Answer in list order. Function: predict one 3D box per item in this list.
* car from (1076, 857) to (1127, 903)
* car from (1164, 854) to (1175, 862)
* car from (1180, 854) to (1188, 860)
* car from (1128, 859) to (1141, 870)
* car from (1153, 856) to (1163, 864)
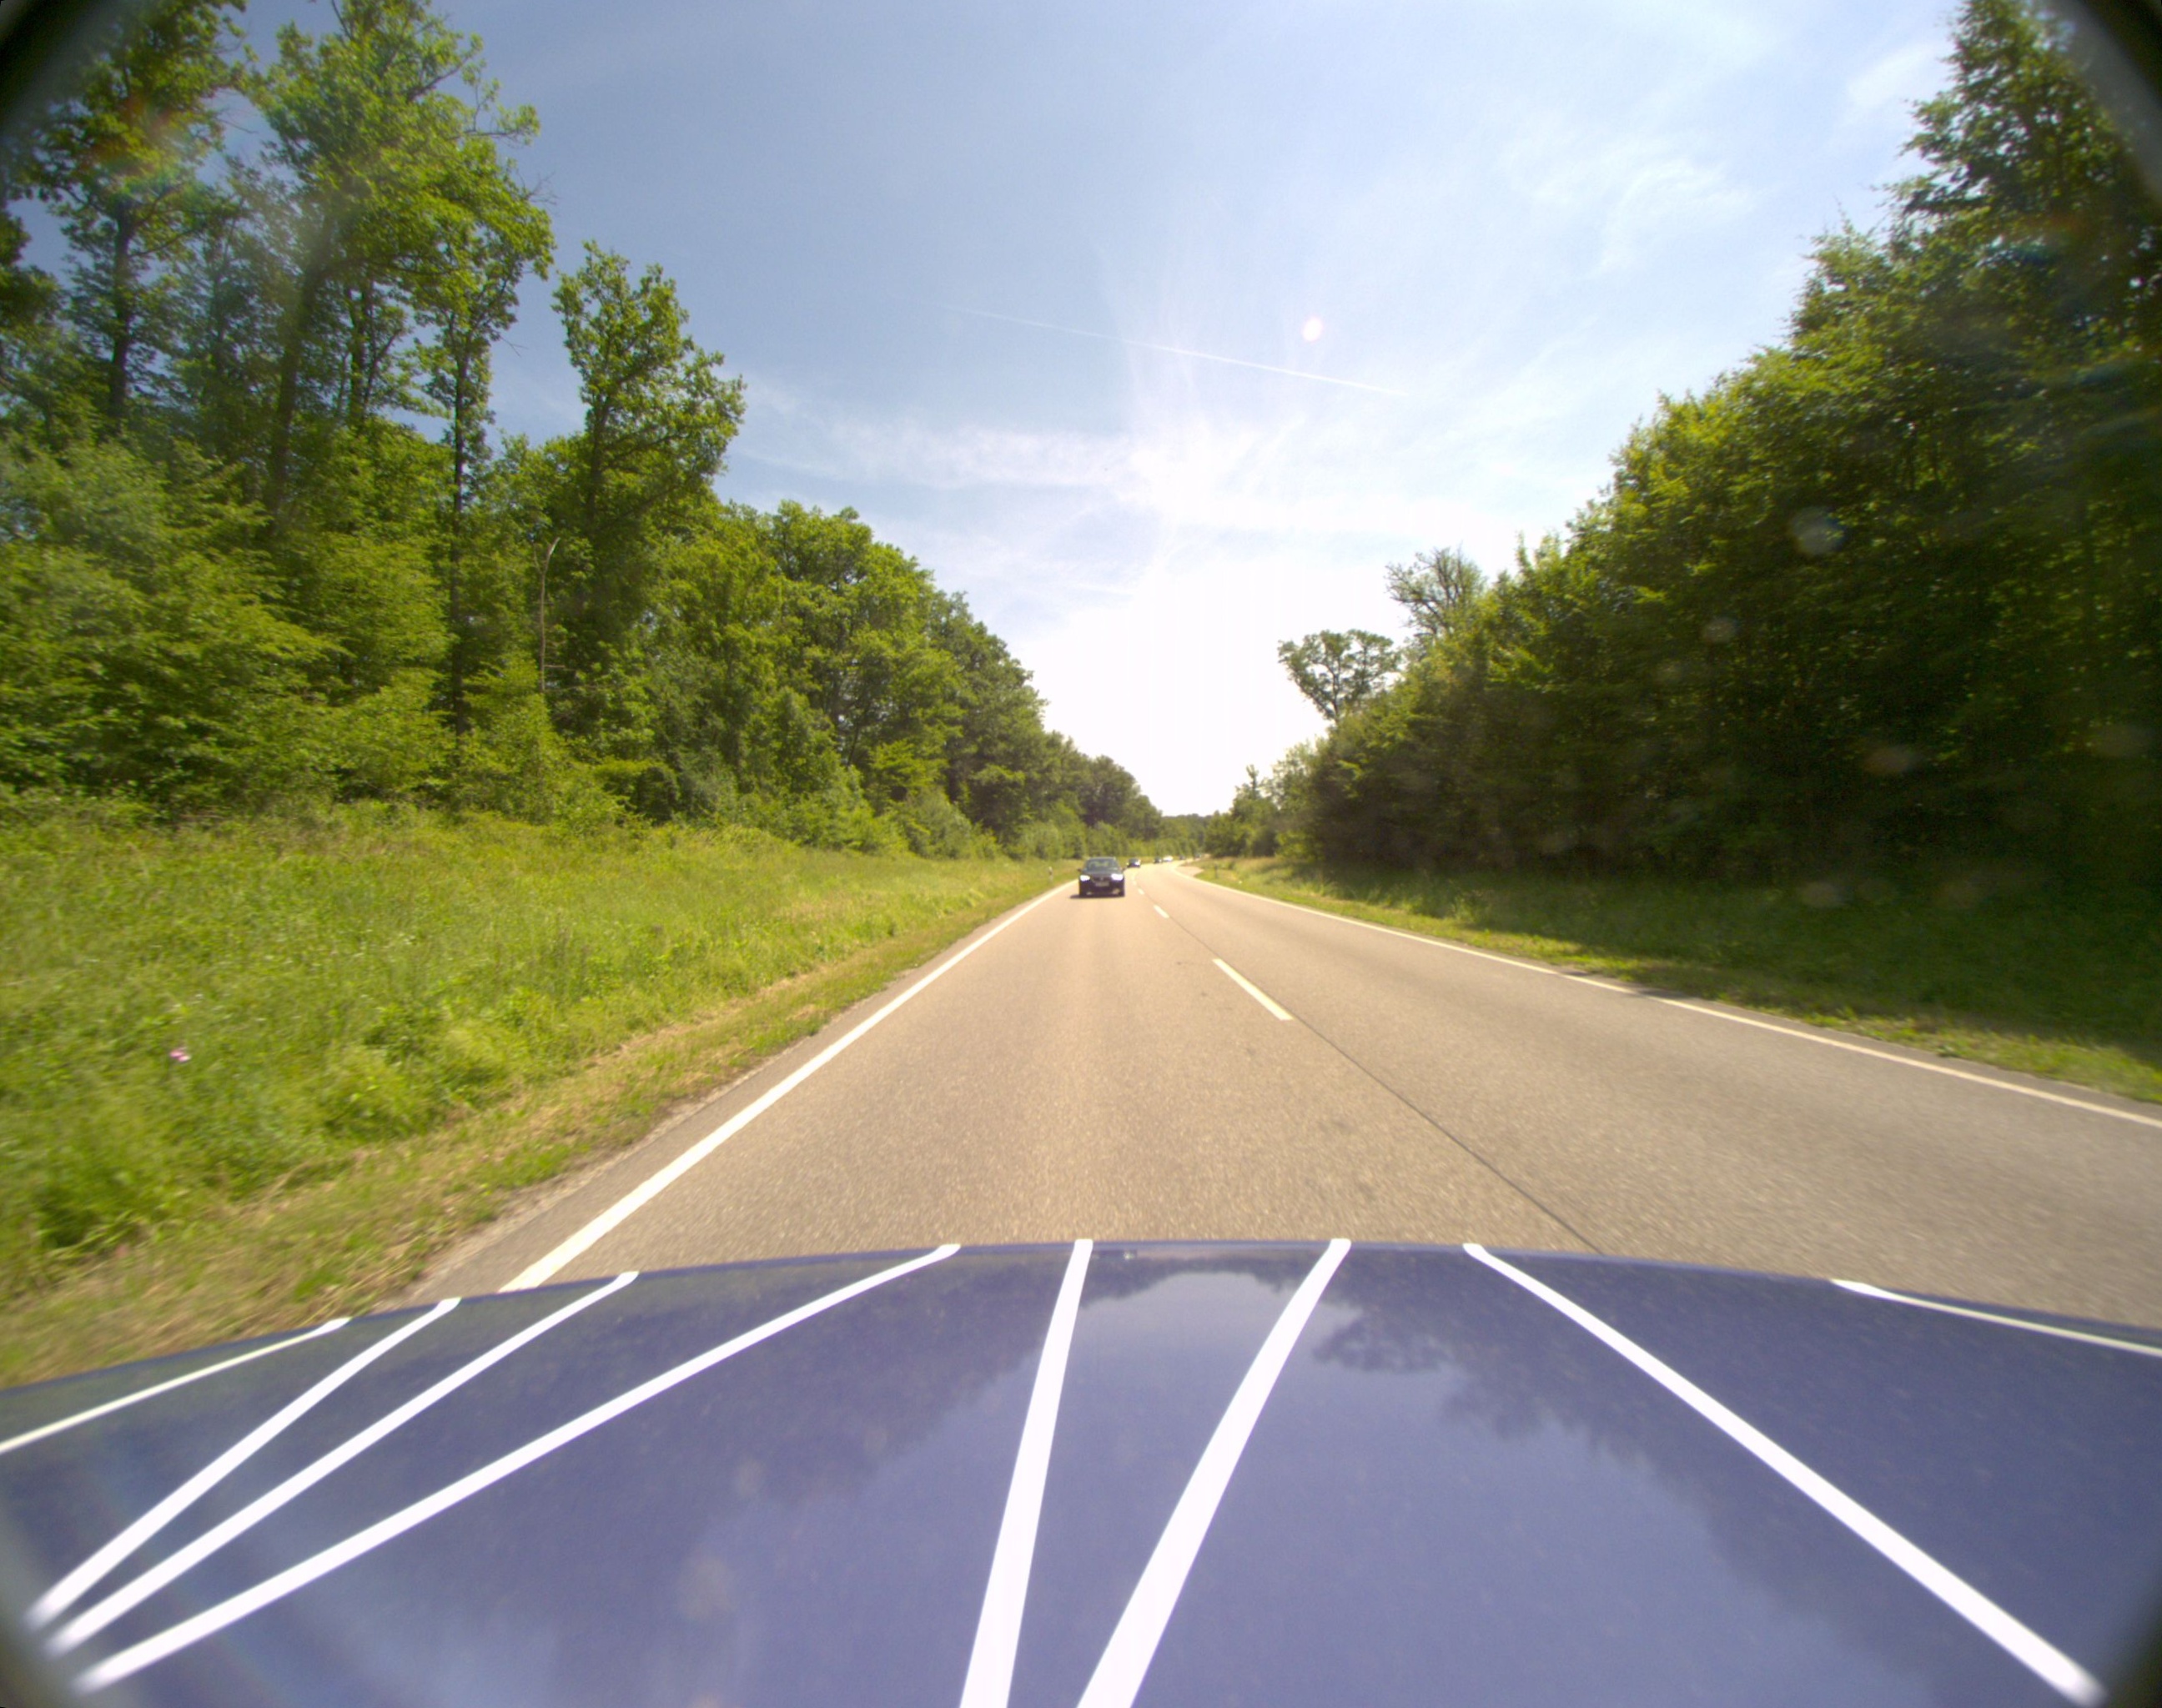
[{"bbox_3d":[0.814,0.898,28.108,1.713,1.516,4.243,-1,0,3],"label":"car"},{"bbox_3d":[21.658,0.943,185.453,2.017,1.737,4.385,-2,0,15],"label":"car"},{"bbox_3d":[29.405,0.789,217.347,1.691,1.718,4.004,-2,0,14],"label":"car"},{"bbox_3d":[7.735,1.522,108.655,1.775,1.454,3.949,-2,0,4],"label":"car"},{"bbox_3d":[15.976,1.230,157.508,1.775,1.454,4.003,-2,0,9],"label":"car"}]
